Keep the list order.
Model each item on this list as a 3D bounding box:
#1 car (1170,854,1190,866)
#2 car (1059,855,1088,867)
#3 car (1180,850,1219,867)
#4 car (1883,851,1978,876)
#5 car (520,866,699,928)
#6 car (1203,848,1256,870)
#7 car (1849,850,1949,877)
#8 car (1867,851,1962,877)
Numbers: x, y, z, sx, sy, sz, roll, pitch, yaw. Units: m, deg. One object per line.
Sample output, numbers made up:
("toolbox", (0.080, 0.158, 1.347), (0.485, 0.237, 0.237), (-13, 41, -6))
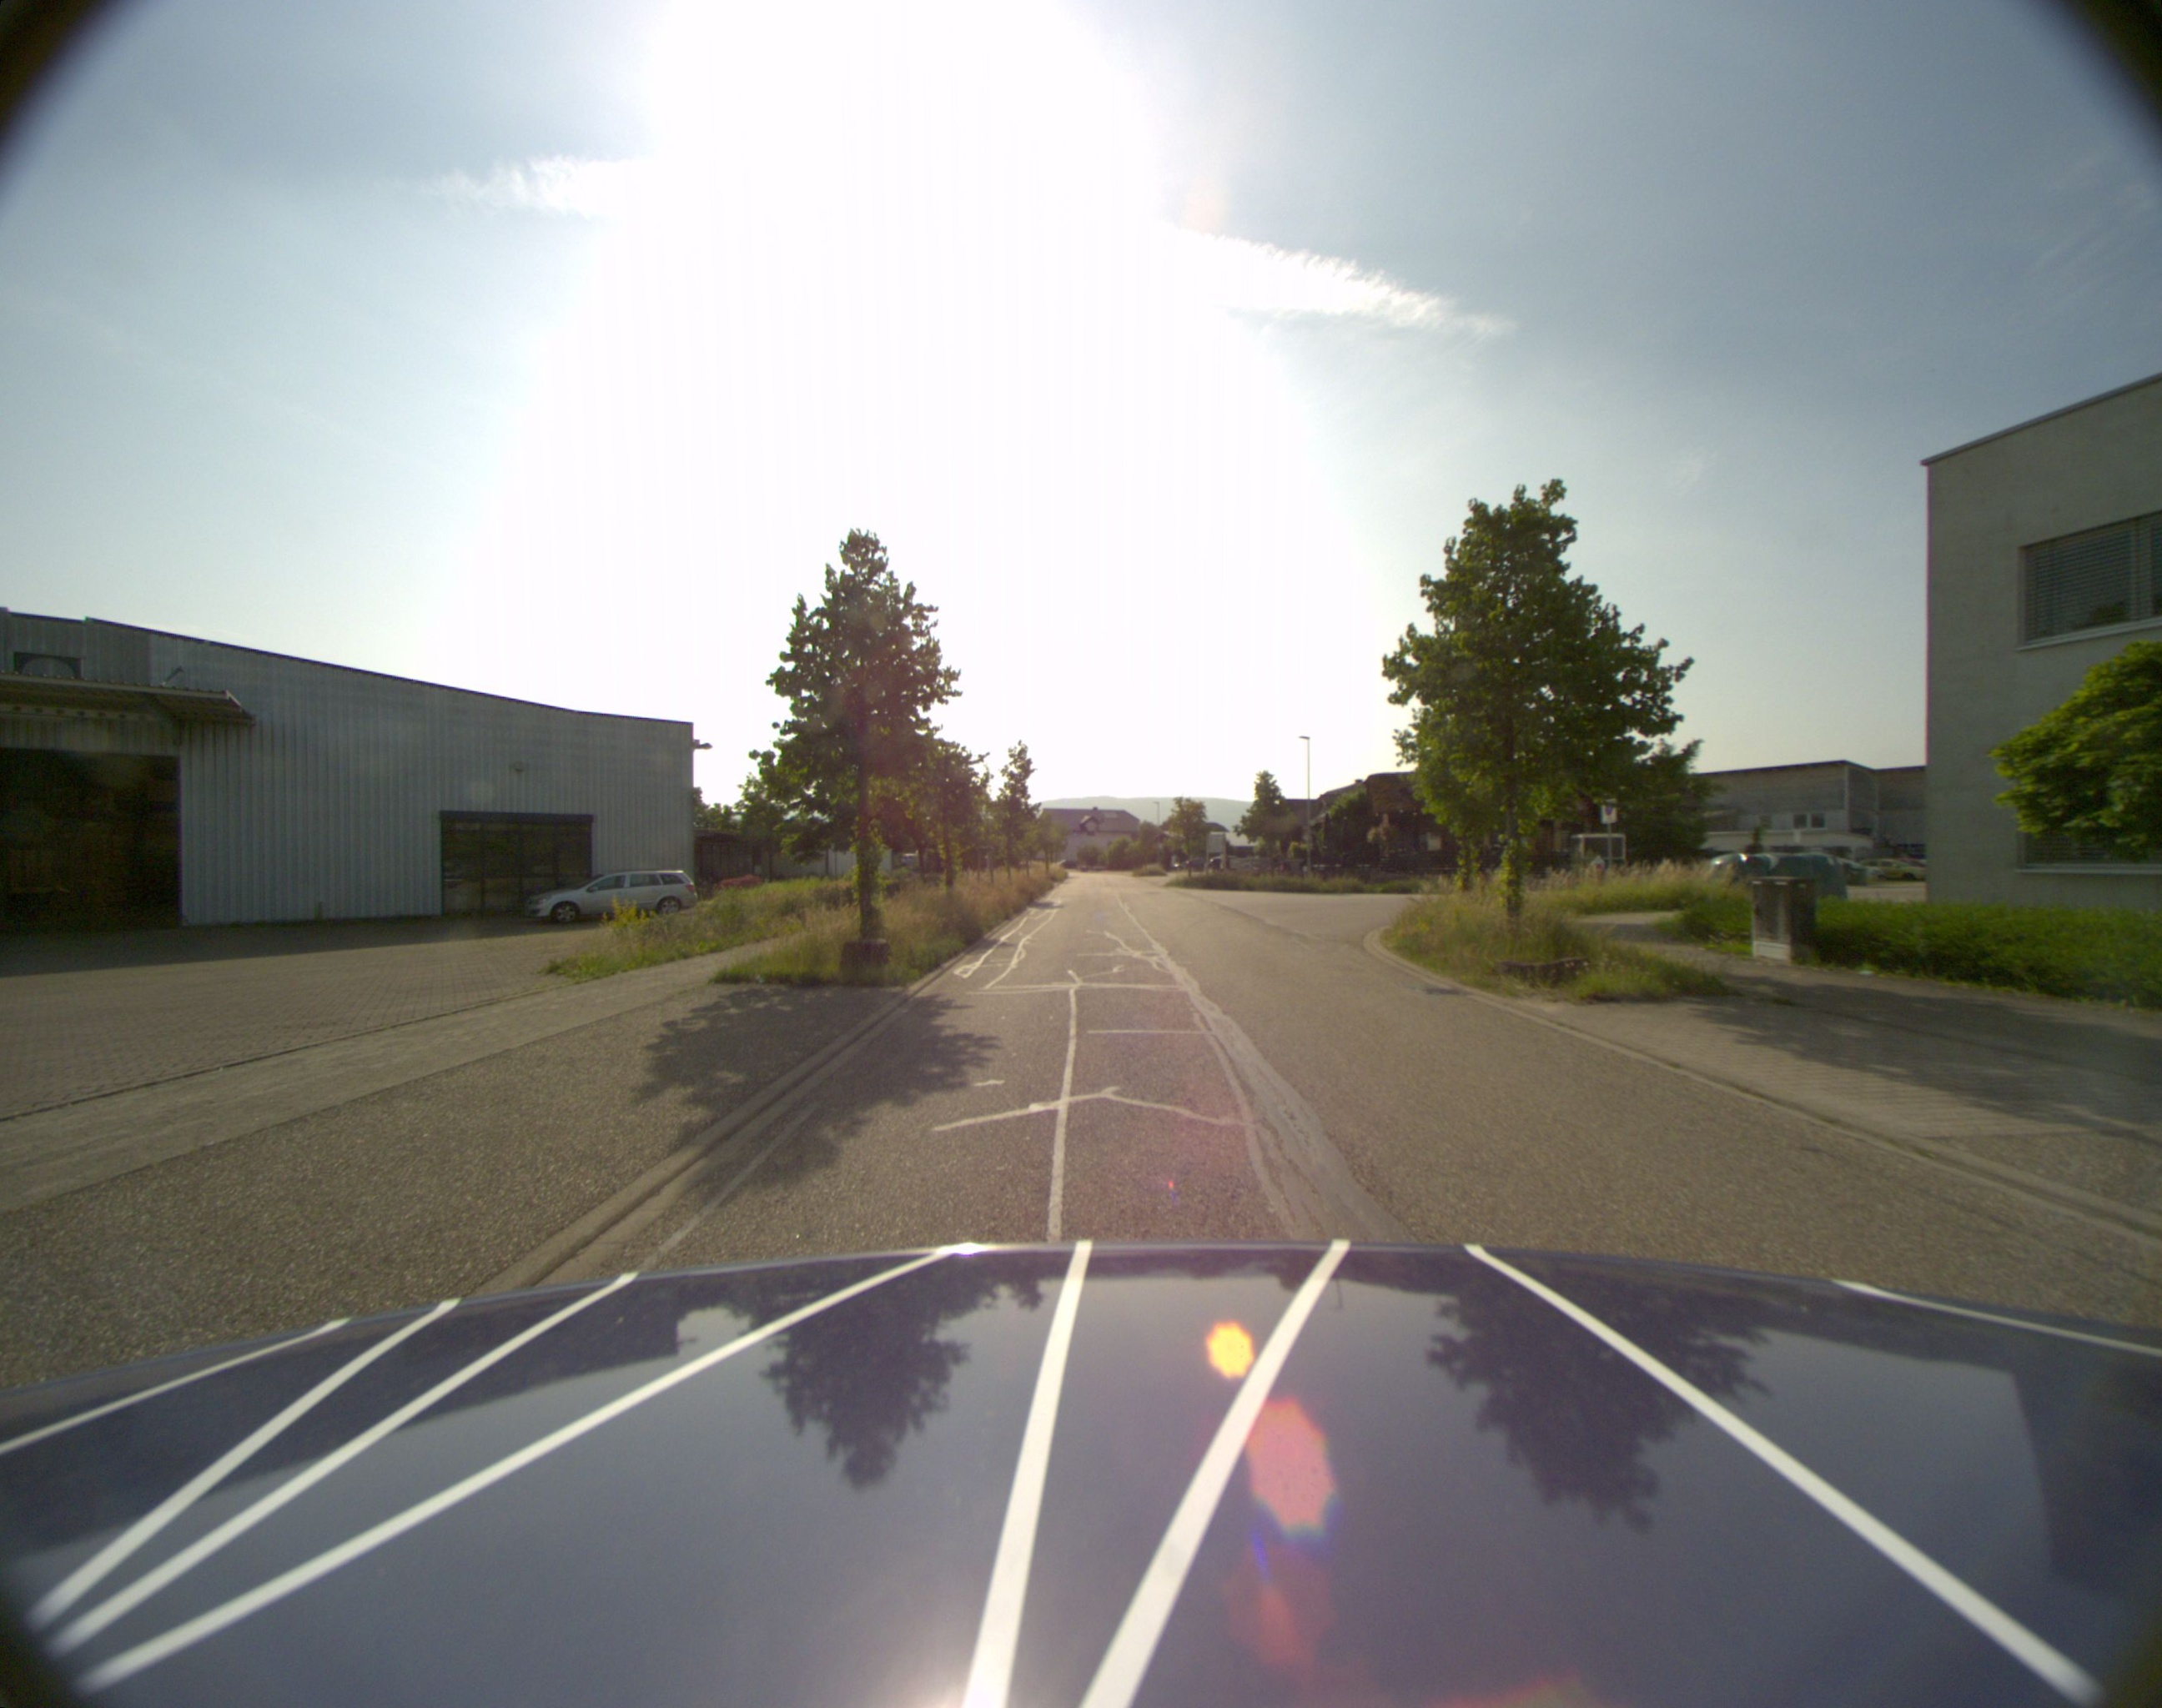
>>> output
("car", (12.515, 0.766, 96.343), (1.615, 1.472, 3.549), (-1, 0, -6))
("car", (-1.130, 1.133, 118.205), (4.004, 1.761, 1.996), (-1, 0, -23))
("car", (13.472, 0.509, 86.427), (4.004, 1.783, 1.996), (-1, 0, -21))
("car", (59.497, 0.664, 53.269), (2.002, 1.649, 3.993), (-1, 0, -22))
("car", (-14.230, 1.223, 23.080), (4.368, 1.554, 1.753), (0, 3, -41))
("car", (12.338, 0.434, 63.200), (3.996, 1.718, 2.000), (-1, 0, 2))
("car", (55.376, 0.652, 51.548), (2.002, 1.725, 4.157), (-1, 0, -22))
("car", (57.340, 0.701, 52.361), (2.002, 1.687, 3.993), (-1, 0, -22))
